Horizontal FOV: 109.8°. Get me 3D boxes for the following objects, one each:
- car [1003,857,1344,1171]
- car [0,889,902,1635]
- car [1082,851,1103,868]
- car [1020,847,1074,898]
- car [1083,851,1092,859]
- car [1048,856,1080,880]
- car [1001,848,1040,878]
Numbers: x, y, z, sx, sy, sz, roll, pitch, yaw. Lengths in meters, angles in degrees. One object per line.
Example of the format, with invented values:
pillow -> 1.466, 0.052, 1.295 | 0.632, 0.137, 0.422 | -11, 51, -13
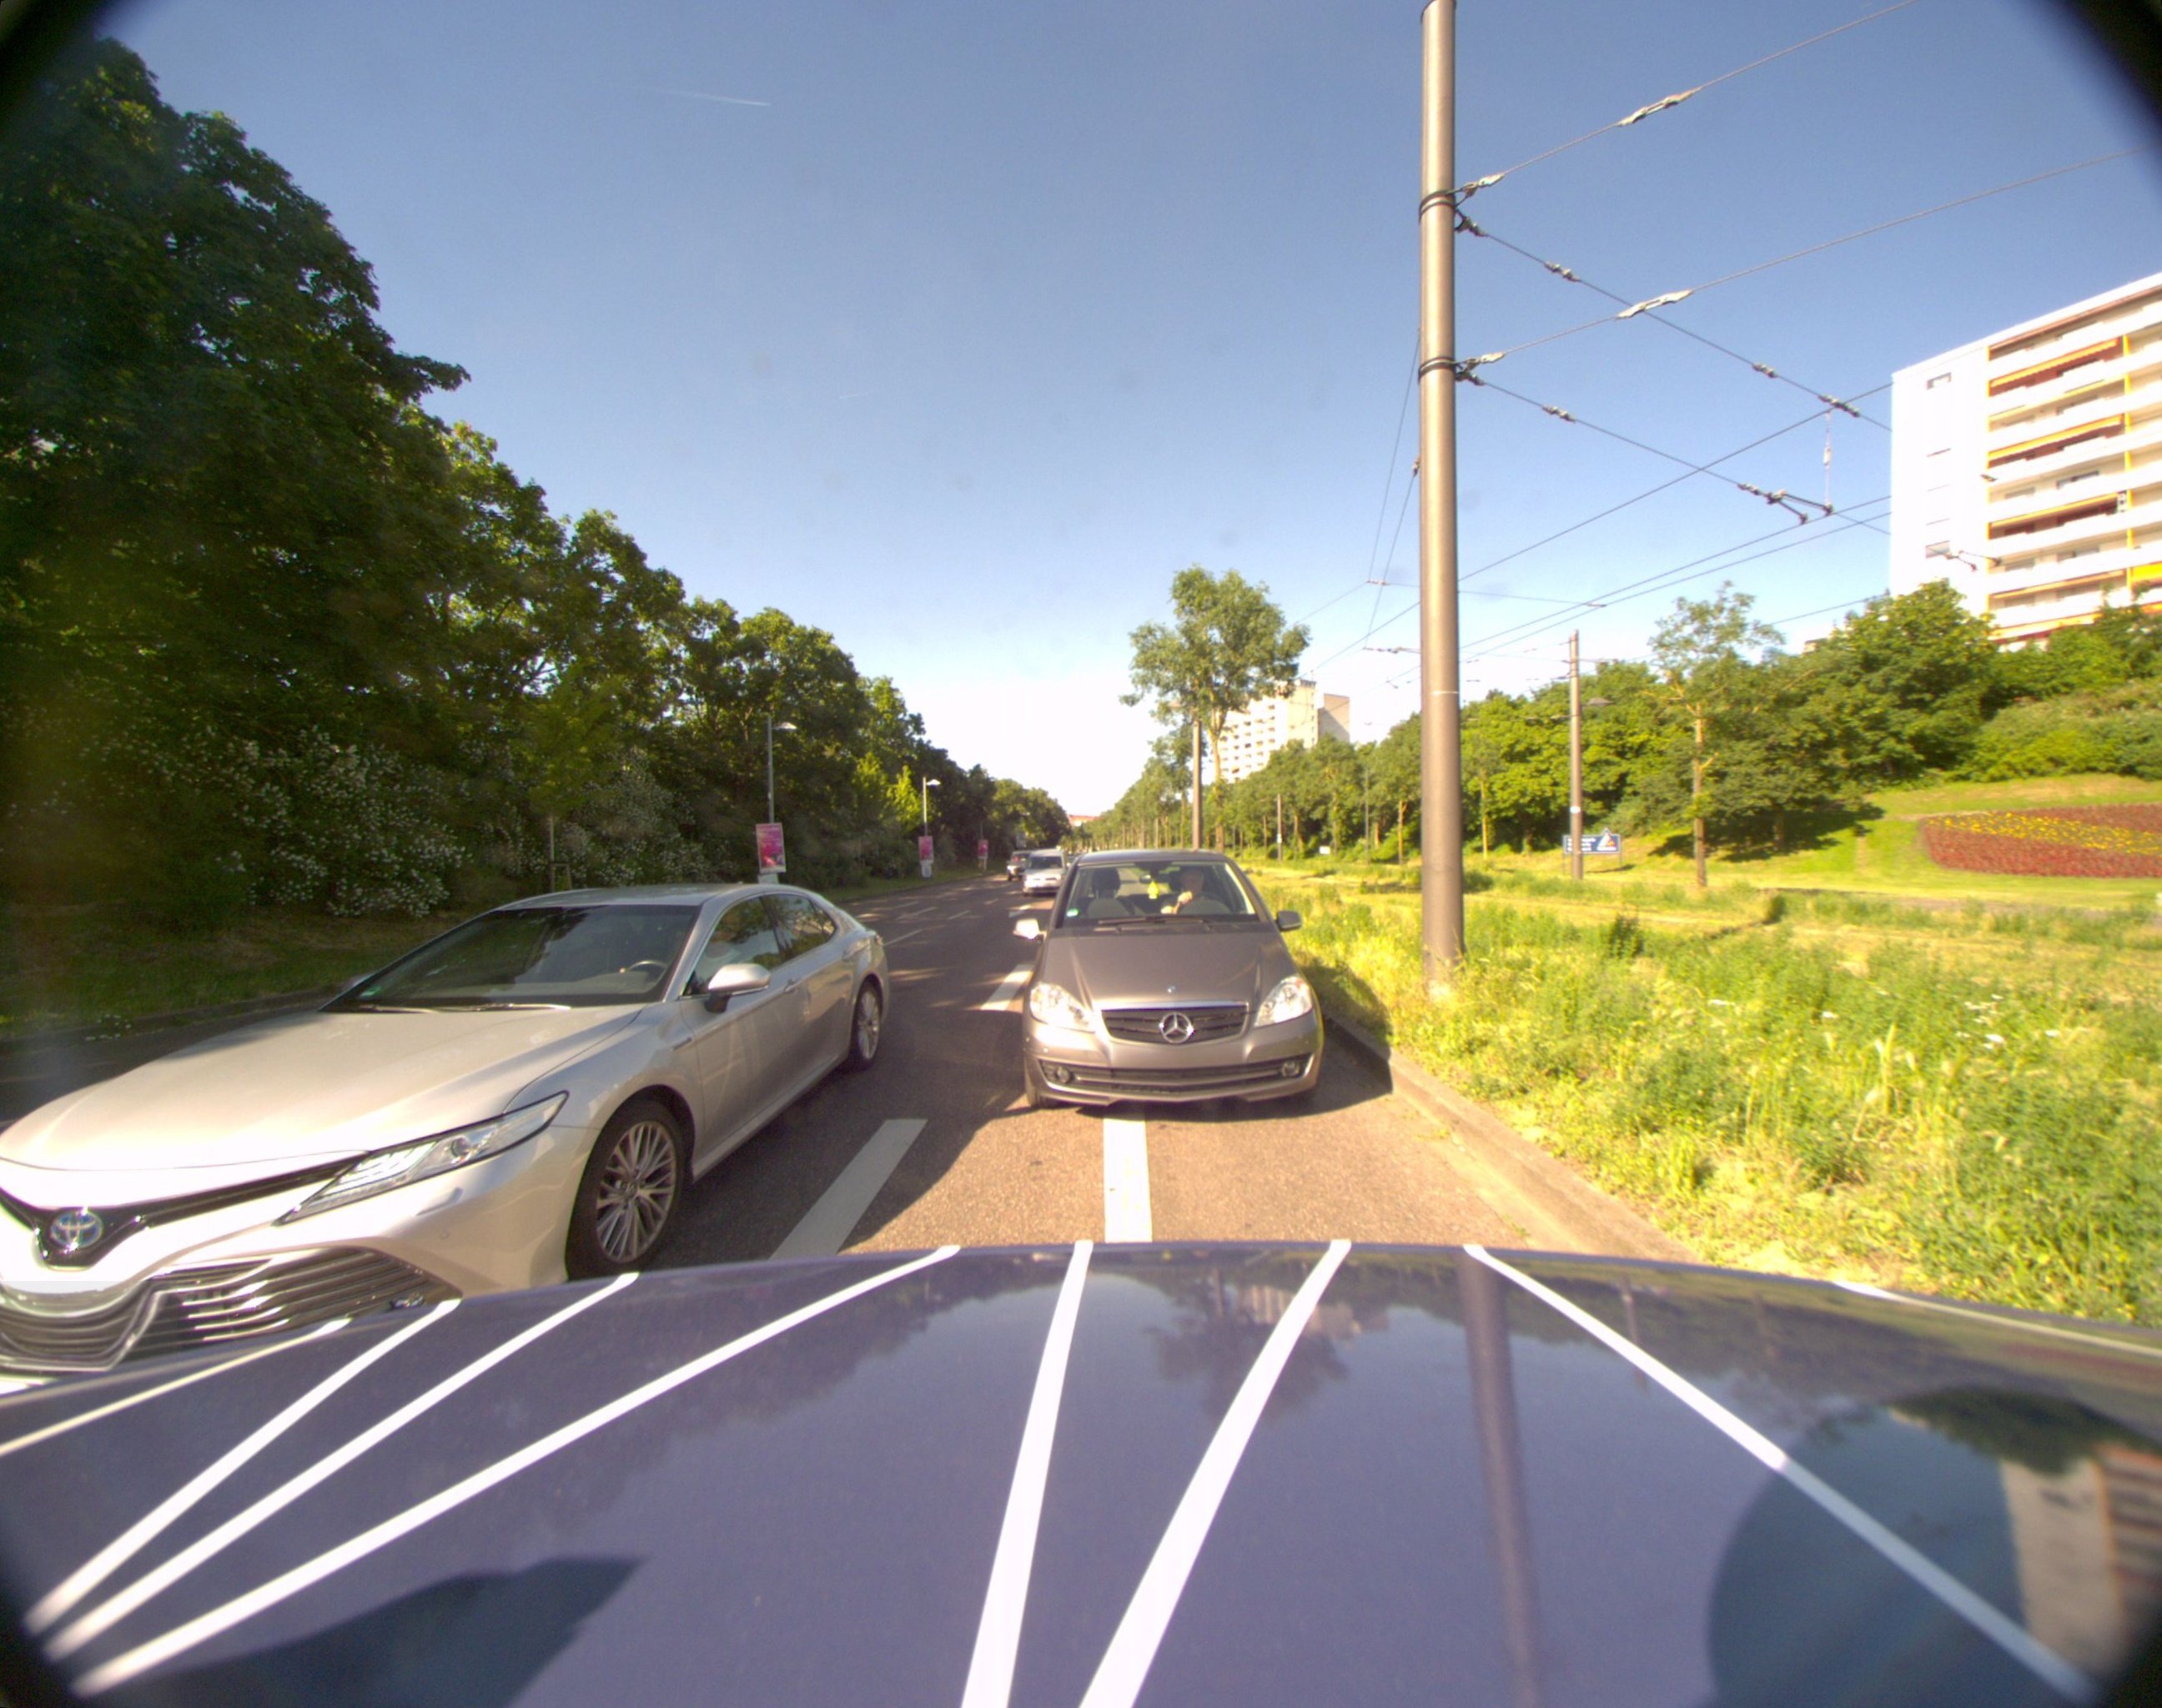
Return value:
car -> 0.517, 0.857, 6.196 | 1.777, 1.597, 4.384 | -1, 0, 1
car -> -2.643, 1.049, 4.112 | 2.069, 1.451, 4.749 | -1, 0, 2
car -> 1.023, 0.423, 66.159 | 1.776, 1.395, 4.067 | -1, 0, 2
car -> -1.304, 0.671, 30.797 | 1.822, 1.893, 4.622 | -1, 0, 2
car -> 1.386, 0.233, 156.847 | 1.777, 1.597, 4.384 | -1, 0, 1
car -> -1.000, 0.828, 46.906 | 1.776, 1.395, 4.067 | -1, 0, 2
car -> -3.928, 0.551, 50.098 | 1.998, 1.882, 5.148 | -1, 0, 1
